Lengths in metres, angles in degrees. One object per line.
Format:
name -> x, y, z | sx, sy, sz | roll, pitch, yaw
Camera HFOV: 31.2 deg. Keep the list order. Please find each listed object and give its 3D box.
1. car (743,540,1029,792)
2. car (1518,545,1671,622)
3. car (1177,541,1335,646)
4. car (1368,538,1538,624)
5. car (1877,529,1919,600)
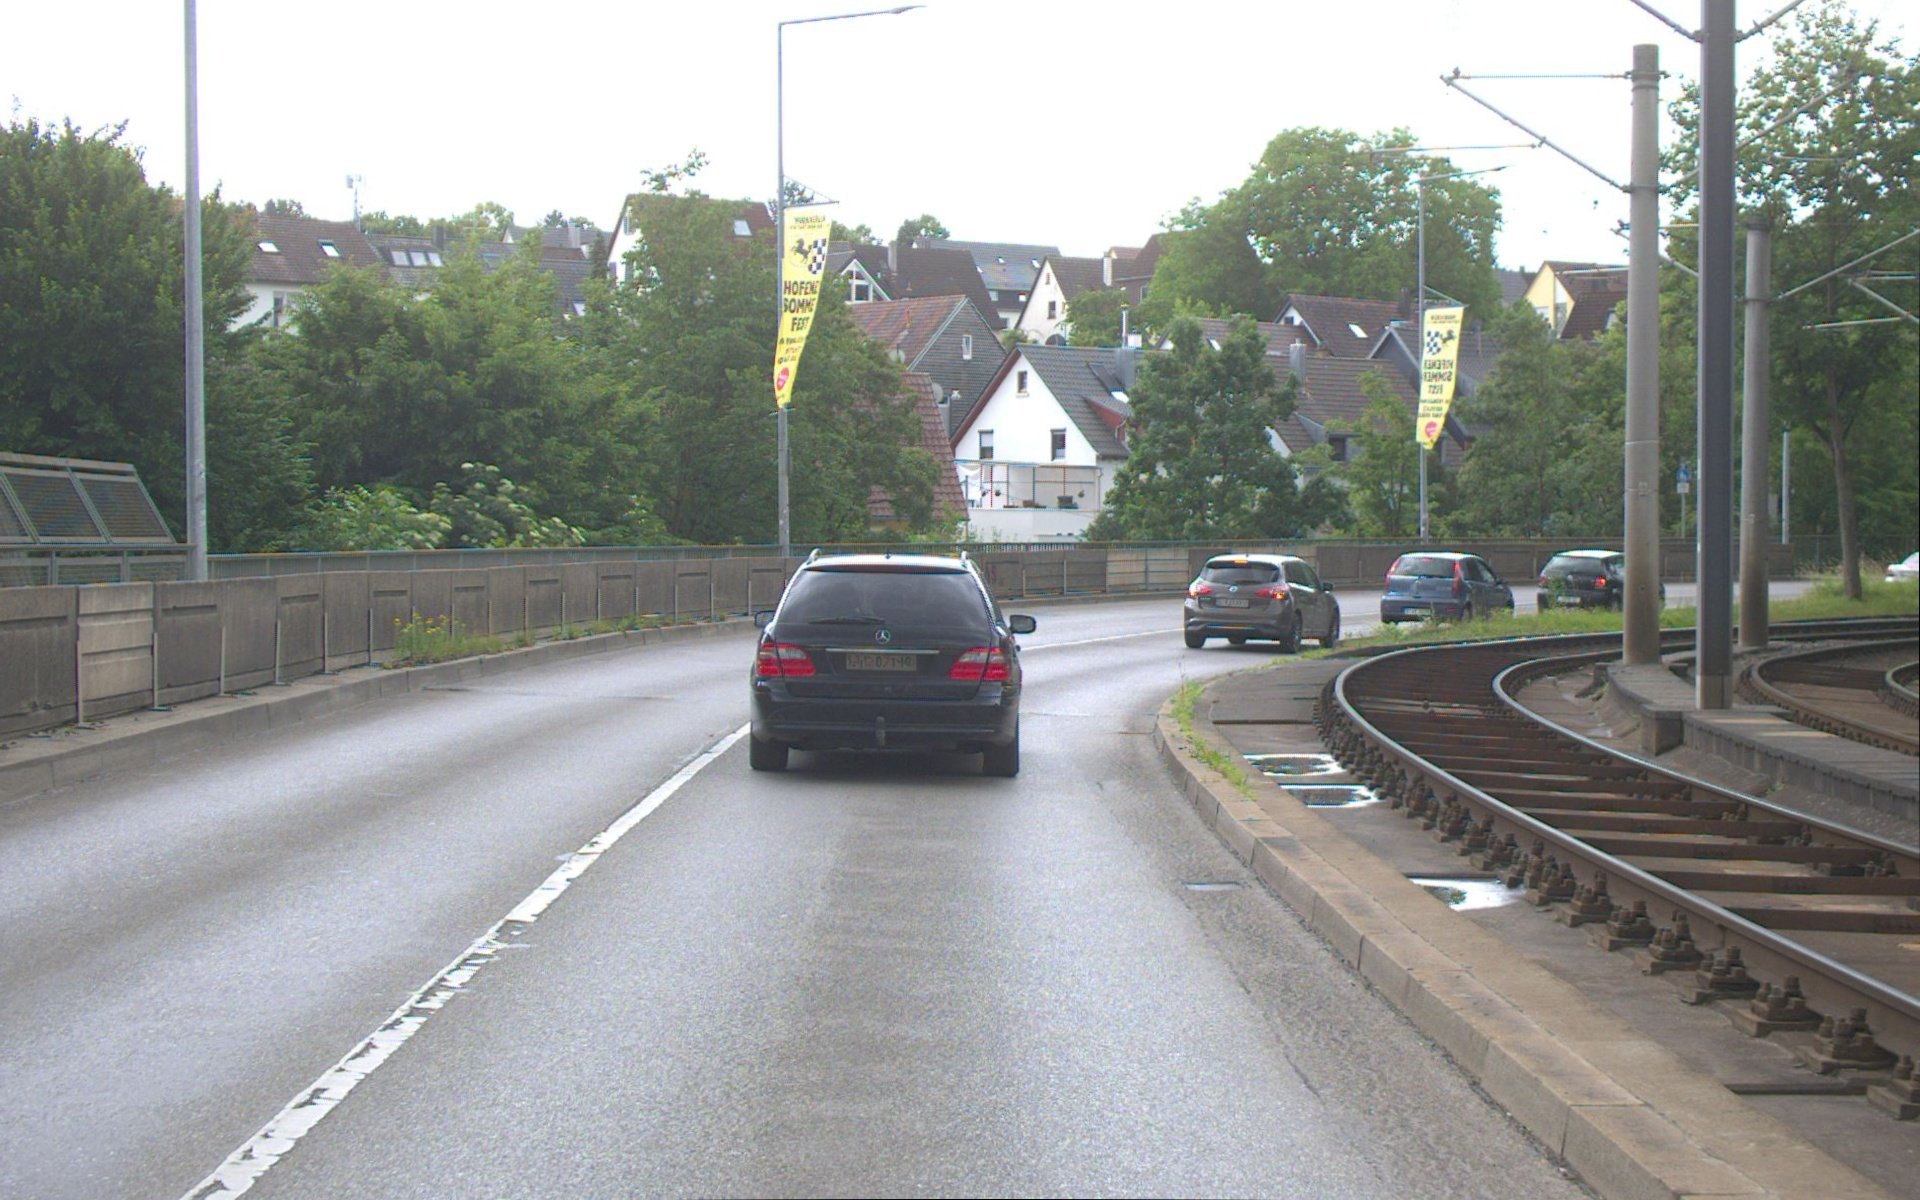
car -> -0.524, 0.383, 24.049 | 1.759, 1.510, 4.443 | 2, 1, -1
car -> 13.248, -0.359, 71.625 | 1.773, 1.550, 4.233 | 1, 1, 30
car -> 4.805, -0.131, 55.312 | 1.771, 1.550, 4.238 | -1, 2, 15
car -> 9.354, -0.384, 64.968 | 1.795, 1.550, 4.379 | 0, 1, 28
car -> 24.902, -0.948, 86.553 | 1.802, 1.705, 3.978 | 0, 3, 44
